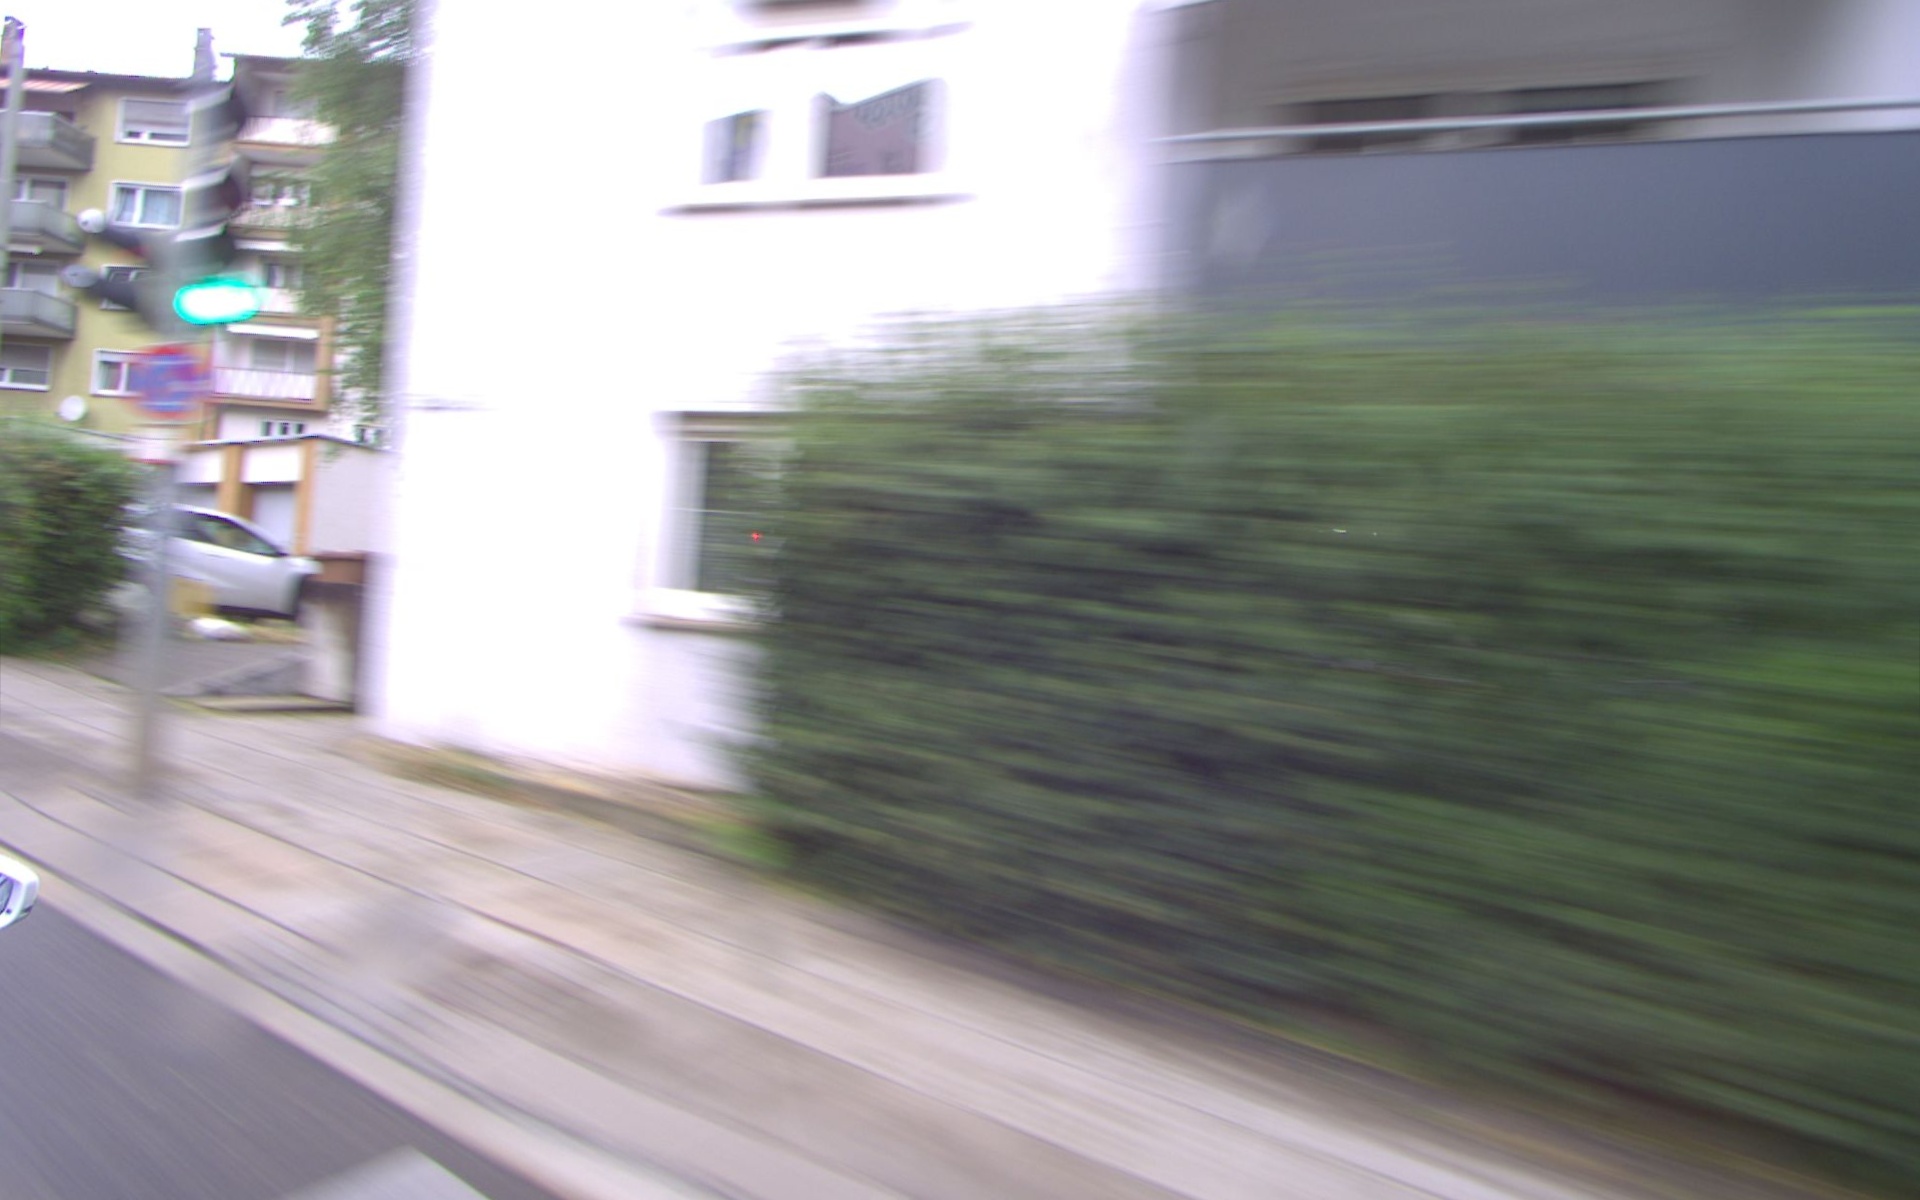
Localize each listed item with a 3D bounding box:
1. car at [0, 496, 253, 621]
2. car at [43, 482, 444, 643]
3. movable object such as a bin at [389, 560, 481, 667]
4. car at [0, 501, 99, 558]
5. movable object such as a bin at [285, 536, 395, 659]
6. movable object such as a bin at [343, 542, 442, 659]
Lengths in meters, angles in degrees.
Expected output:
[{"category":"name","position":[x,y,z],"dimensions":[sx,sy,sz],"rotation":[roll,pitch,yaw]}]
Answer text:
[{"category":"car","position":[-14.672,-0.781,16.168],"dimensions":[1.940,1.452,4.948],"rotation":[9,-2,28]},{"category":"car","position":[-9.521,-0.392,13.791],"dimensions":[1.784,1.482,4.004],"rotation":[7,-3,23]},{"category":"movable object such as a bin","position":[-6.000,0.162,11.514],"dimensions":[0.631,1.125,0.517],"rotation":[7,0,14]},{"category":"car","position":[-28.955,-2.222,30.069],"dimensions":[1.750,1.418,4.521],"rotation":[3,-2,29]},{"category":"movable object such as a bin","position":[-6.350,-0.023,10.324],"dimensions":[0.688,1.155,0.535],"rotation":[8,2,12]},{"category":"movable object such as a bin","position":[-6.179,0.014,10.969],"dimensions":[0.631,1.172,0.517],"rotation":[7,0,14]}]
